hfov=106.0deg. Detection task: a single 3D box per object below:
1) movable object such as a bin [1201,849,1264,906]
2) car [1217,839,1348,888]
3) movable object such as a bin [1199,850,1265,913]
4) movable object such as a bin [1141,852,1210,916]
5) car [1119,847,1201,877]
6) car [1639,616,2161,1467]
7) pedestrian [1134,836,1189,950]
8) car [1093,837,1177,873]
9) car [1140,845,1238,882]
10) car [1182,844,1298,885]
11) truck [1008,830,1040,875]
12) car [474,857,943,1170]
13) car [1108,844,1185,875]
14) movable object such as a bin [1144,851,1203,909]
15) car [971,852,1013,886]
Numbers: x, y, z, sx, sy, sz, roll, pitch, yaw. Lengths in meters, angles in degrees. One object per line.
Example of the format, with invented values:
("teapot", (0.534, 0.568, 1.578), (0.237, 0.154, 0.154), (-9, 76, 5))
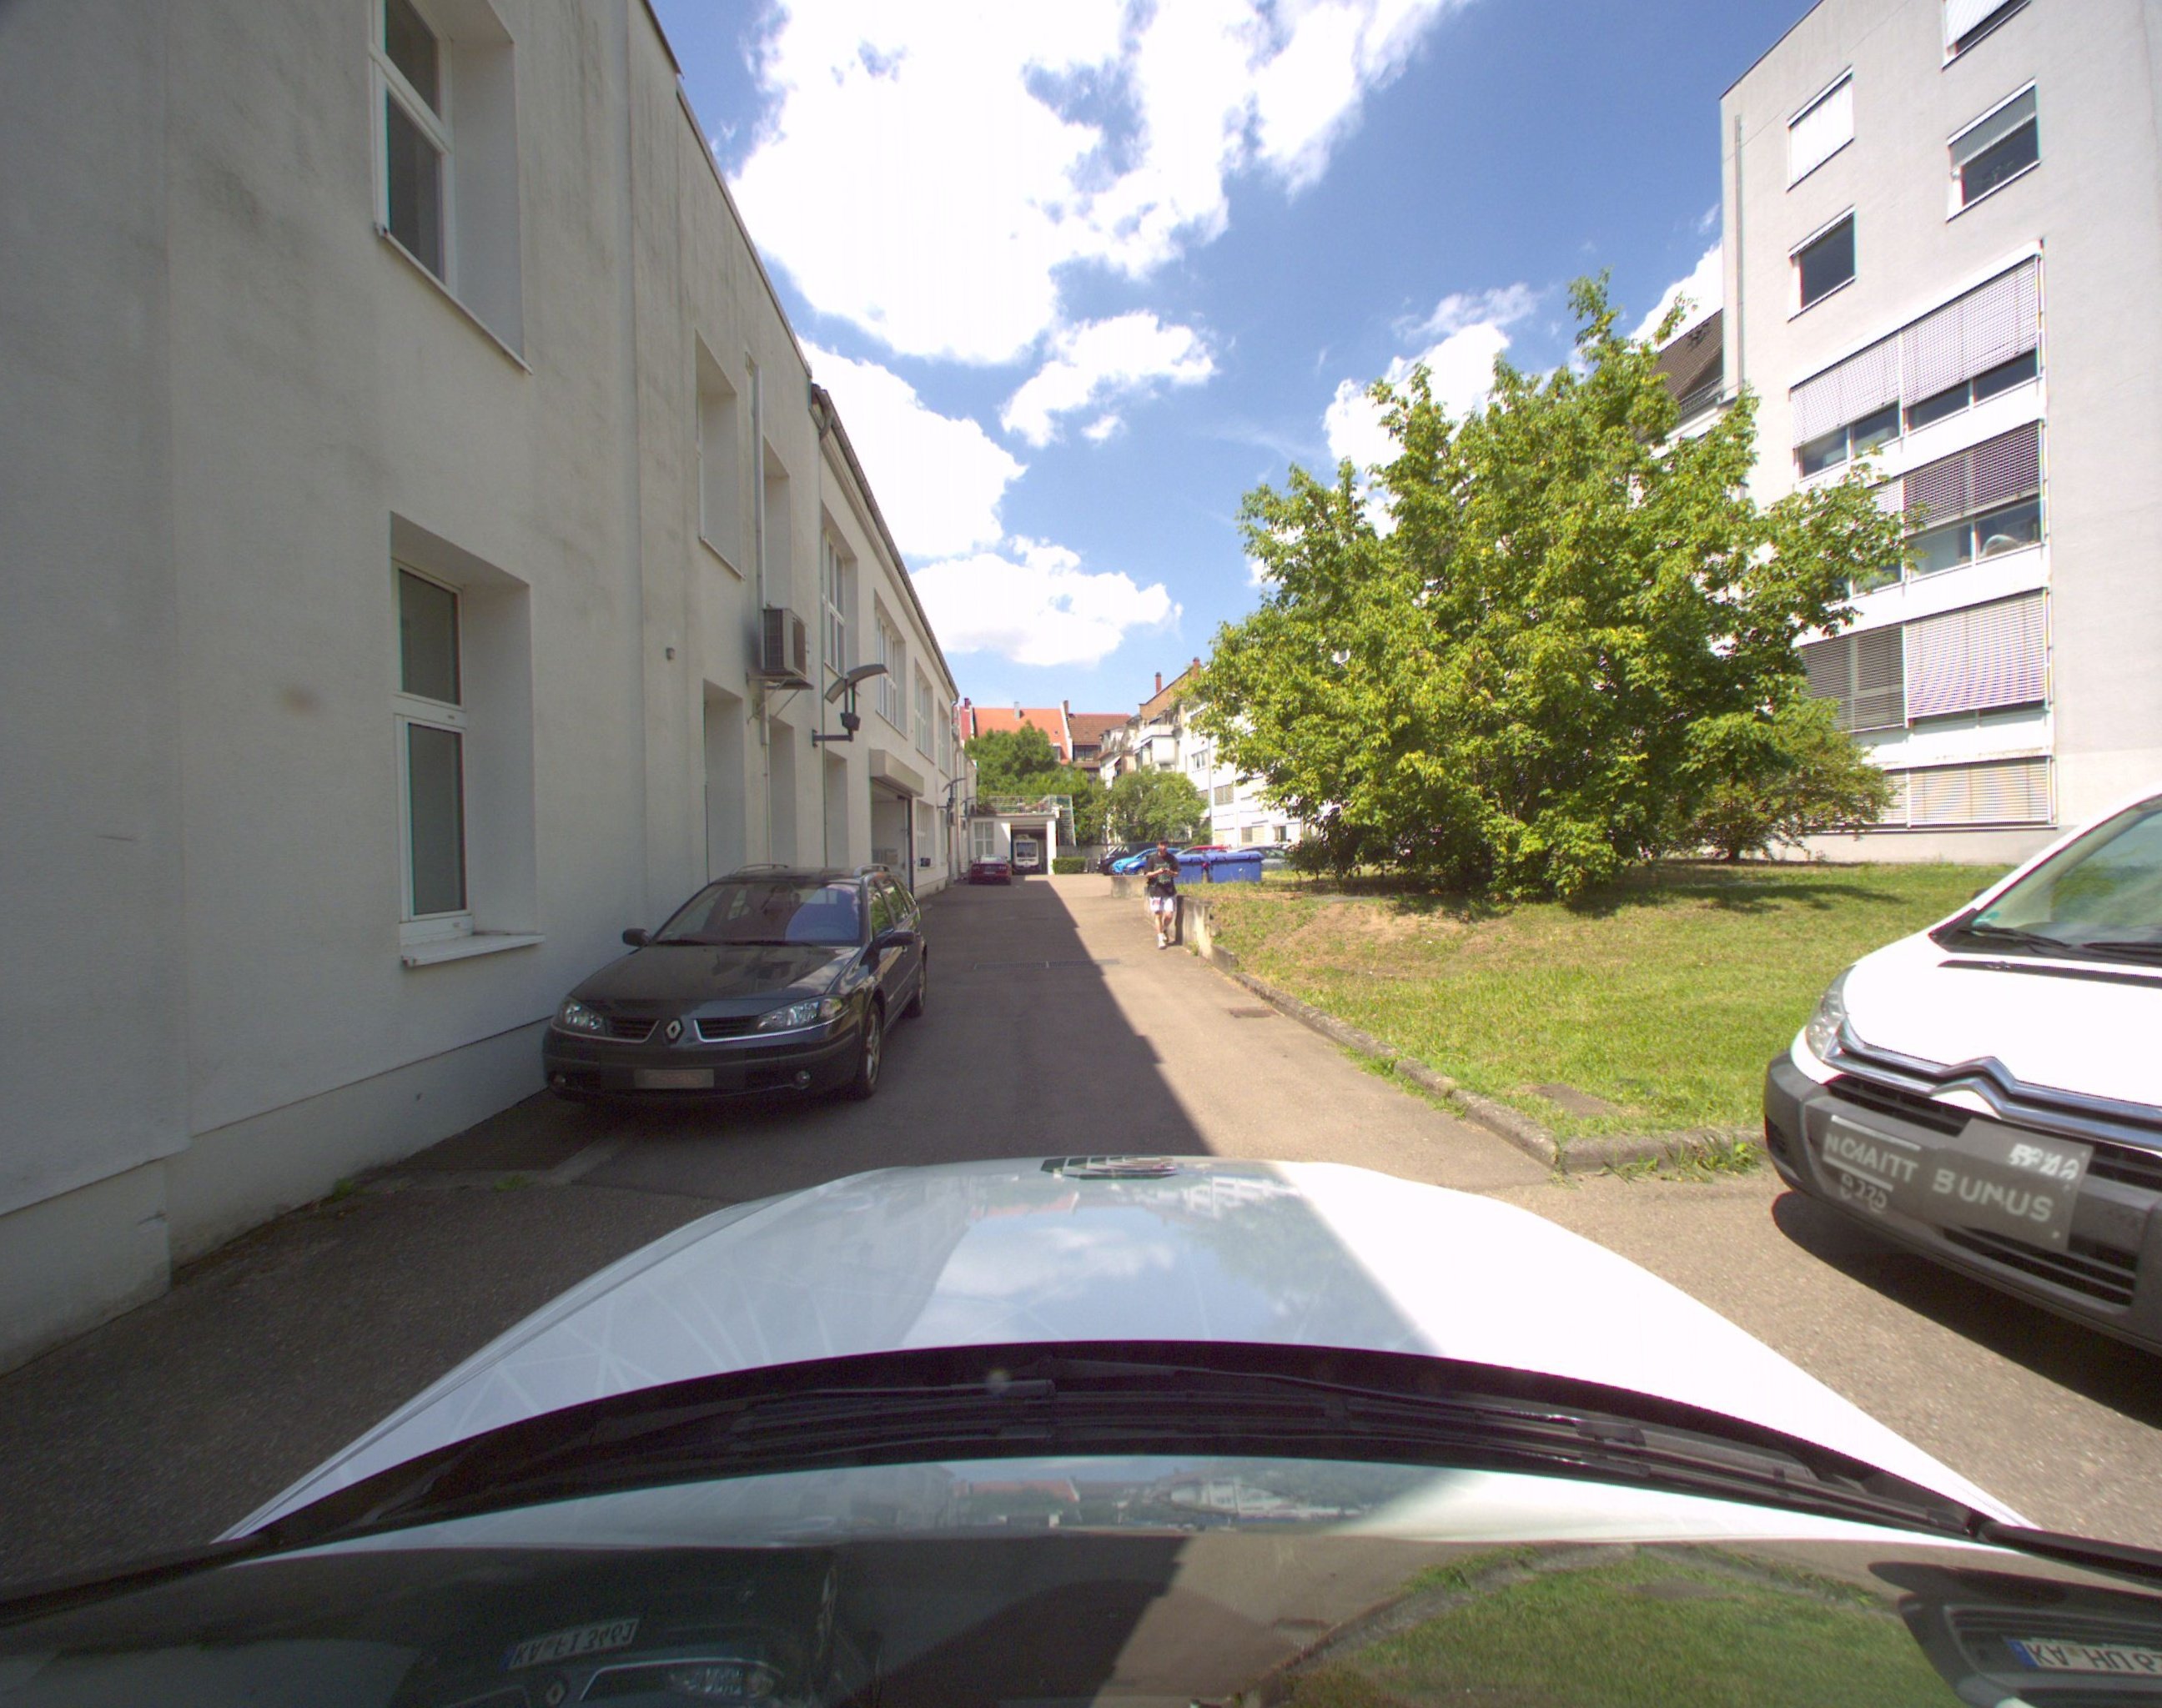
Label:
("movable object such as a bin", (3.710, 0.551, 20.029), (1.214, 1.326, 1.158), (-2, 0, -6))
("car", (6.835, 0.287, 27.832), (3.982, 1.478, 1.801), (-2, 1, -6))
("movable object such as a bin", (3.372, 0.593, 18.294), (1.213, 1.326, 1.160), (-2, 0, -2))
("movable object such as a bin", (2.085, 0.645, 18.167), (1.335, 1.326, 1.160), (-2, 0, -2))
("car", (4.106, 0.402, 42.581), (3.982, 1.390, 1.801), (-2, 1, -6))
("car", (4.873, 0.390, 2.723), (4.751, 2.013, 1.997), (-1, 0, -5))
("pedestrian", (1.284, 0.603, 13.102), (0.755, 1.755, 0.751), (-1, 0, -3))
("car", (3.174, 0.054, 48.535), (4.672, 1.958, 2.072), (-2, 1, -6))
("car", (4.733, 0.391, 35.979), (3.982, 1.478, 1.801), (-2, 1, -6))
("car", (6.061, 0.375, 31.290), (3.982, 1.390, 1.801), (-2, 1, -6))
("truck", (-4.024, -0.105, 56.971), (1.788, 2.937, 4.638), (-1, 0, -9))
("car", (-2.224, 0.802, 6.287), (1.751, 1.429, 4.382), (-1, 1, -3))
("car", (3.640, 0.296, 45.528), (3.982, 1.534, 1.801), (-2, 1, -6))
("movable object such as a bin", (2.251, 0.609, 19.935), (1.191, 1.326, 1.158), (-2, 0, -6))
("car", (-4.109, 0.657, 37.928), (1.796, 1.390, 3.993), (-2, 1, -5))
